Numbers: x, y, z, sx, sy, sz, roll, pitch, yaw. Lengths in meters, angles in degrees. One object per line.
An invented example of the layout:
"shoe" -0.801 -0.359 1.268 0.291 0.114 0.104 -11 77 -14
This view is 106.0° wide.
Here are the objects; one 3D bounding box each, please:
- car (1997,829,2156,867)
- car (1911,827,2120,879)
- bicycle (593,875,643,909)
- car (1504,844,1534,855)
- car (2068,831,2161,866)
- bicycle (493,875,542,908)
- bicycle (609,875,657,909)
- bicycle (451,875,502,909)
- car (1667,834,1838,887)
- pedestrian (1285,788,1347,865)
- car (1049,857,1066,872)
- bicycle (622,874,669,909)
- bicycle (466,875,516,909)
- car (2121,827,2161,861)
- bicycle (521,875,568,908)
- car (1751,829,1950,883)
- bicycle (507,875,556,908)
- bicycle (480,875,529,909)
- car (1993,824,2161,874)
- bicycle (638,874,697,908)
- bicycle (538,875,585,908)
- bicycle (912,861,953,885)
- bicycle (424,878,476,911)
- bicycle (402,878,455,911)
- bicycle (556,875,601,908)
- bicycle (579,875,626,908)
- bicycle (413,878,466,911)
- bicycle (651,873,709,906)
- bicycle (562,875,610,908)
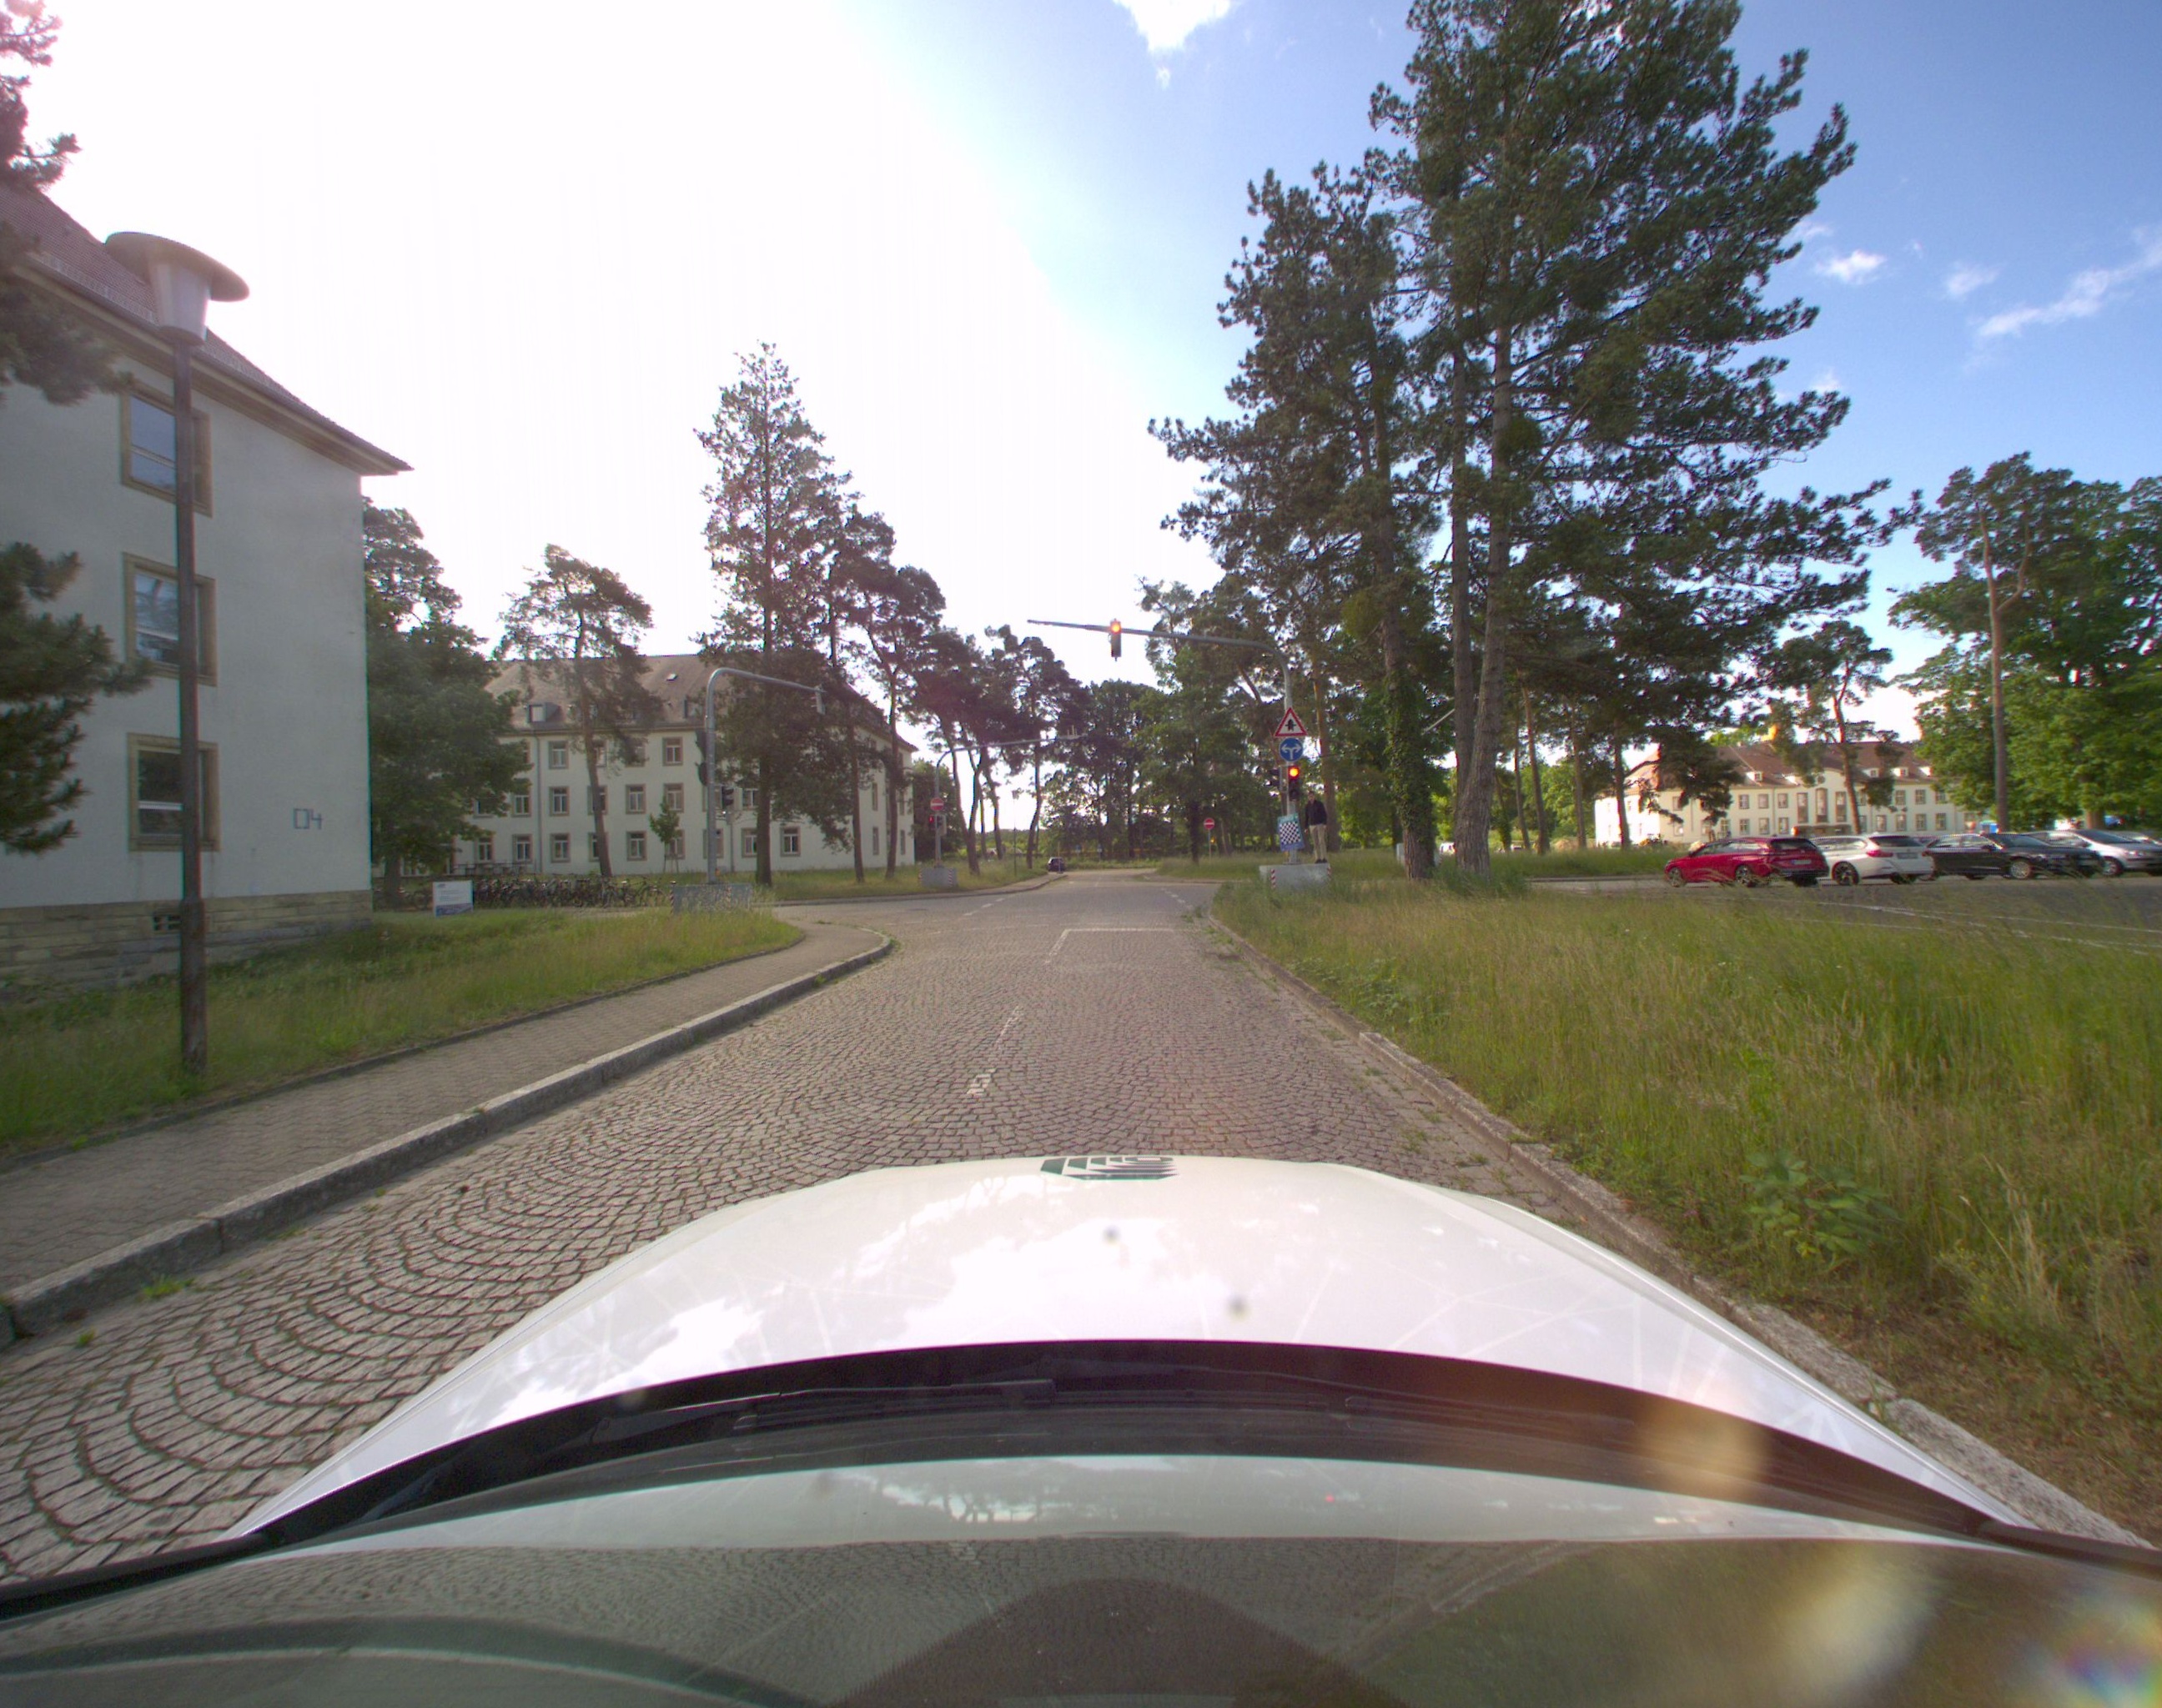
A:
"car" 42.549 -0.243 34.969 1.717 1.493 4.243 0 0 2
"car" 27.289 -0.024 24.013 1.610 1.315 4.048 -3 0 3
"bicycle" -18.044 1.455 31.789 0.630 1.220 2.105 -2 0 2
"car" 49.931 -0.518 92.994 1.713 1.087 4.009 -2 0 8
"car" 44.920 -0.231 34.276 1.717 1.425 4.243 0 0 2
"bicycle" -22.404 1.486 32.440 0.512 1.220 1.955 -2 0 2
"bicycle" -17.440 1.450 31.772 0.630 1.220 2.125 -2 0 2
"bicycle" -24.095 1.500 32.520 0.512 1.220 1.938 -2 0 2
"car" 19.310 0.214 23.673 1.649 1.399 4.131 0 -1 2
"pedestrian" 5.812 -0.655 20.109 1.157 1.796 1.069 -2 0 31
"car" -2.564 1.120 88.063 1.704 1.496 3.918 -2 0 0
"bicycle" -16.956 1.445 31.772 0.630 1.220 2.115 -2 0 2
"bicycle" -23.503 1.495 32.491 0.512 1.220 1.938 -2 0 2
"car" 47.937 -0.446 34.765 1.717 1.468 4.243 0 0 2
"bicycle" -21.360 1.484 32.461 0.512 1.220 1.977 -2 0 2
"car" 22.174 0.126 23.746 1.773 1.379 4.240 -2 -2 0
"bicycle" -21.877 1.484 32.464 0.512 1.220 1.977 -2 0 2
"bicycle" -22.958 1.490 32.460 0.512 1.220 1.938 -2 0 2
"car" 30.125 -0.140 24.307 1.716 1.372 3.796 0 0 4
"bicycle" -15.724 1.390 30.991 1.855 1.220 0.635 -2 0 1
"bicycle" -20.711 1.479 32.497 0.512 1.220 2.016 -2 0 2
"bicycle" -7.048 0.913 38.746 0.627 1.066 1.963 -2 0 40
"bicycle" -25.167 1.600 32.529 0.512 1.220 1.938 -2 0 2
"bicycle" -26.044 1.608 32.550 0.512 1.220 1.938 -2 0 2
"bicycle" -20.189 1.474 32.763 0.546 1.220 1.900 -2 0 2
"bicycle" -18.887 1.463 32.189 0.570 1.220 1.990 -2 0 2
"bicycle" -25.596 1.604 32.536 0.512 1.220 1.938 -2 0 2
"bicycle" -15.598 1.368 31.704 1.937 1.220 0.635 -2 0 1
"bicycle" -19.630 1.471 32.331 0.576 1.220 2.030 -2 0 2
